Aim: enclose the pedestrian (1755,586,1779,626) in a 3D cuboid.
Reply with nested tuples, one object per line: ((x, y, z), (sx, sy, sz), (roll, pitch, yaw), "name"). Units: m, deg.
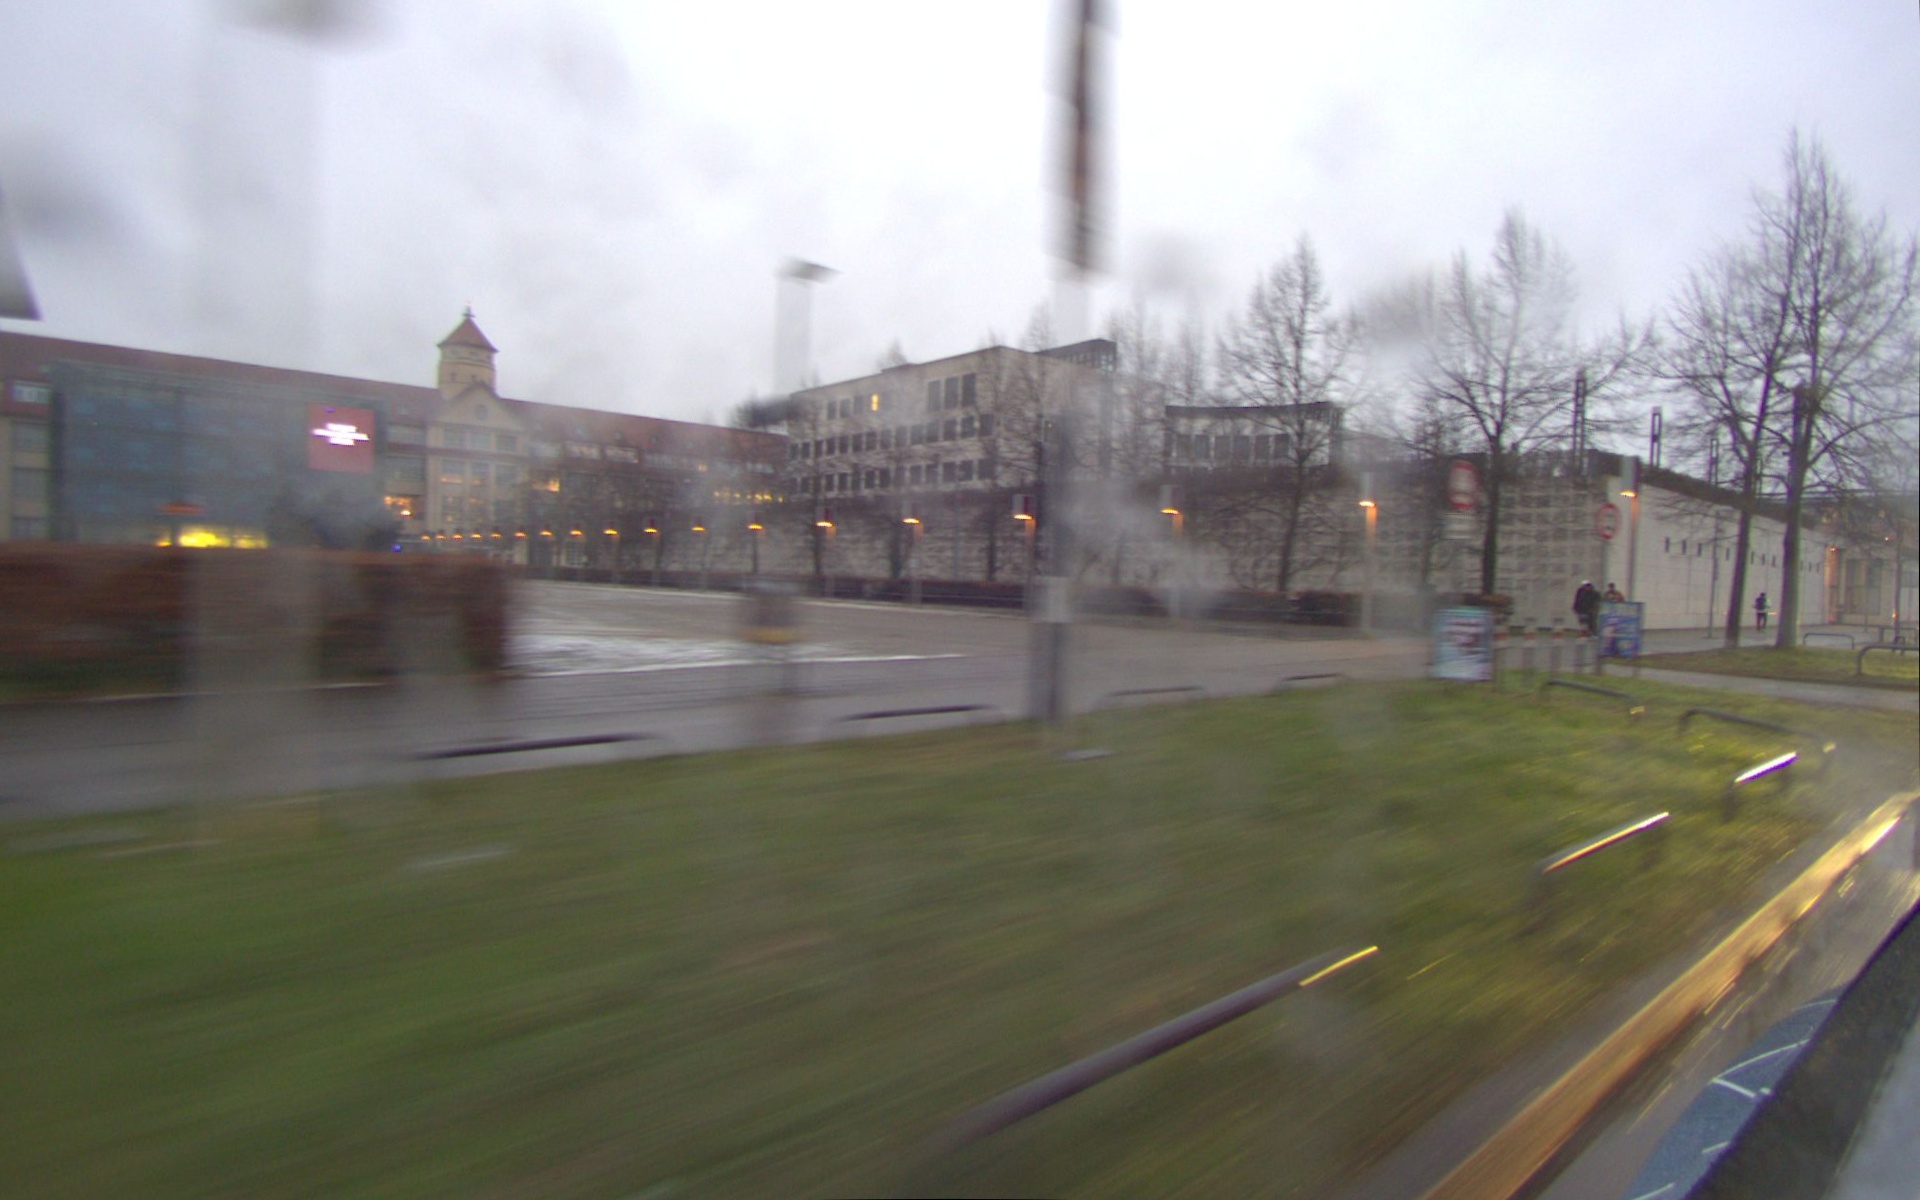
((34.834, 0.228, 43.692), (0.667, 1.675, 0.979), (3, 3, 44), "pedestrian")

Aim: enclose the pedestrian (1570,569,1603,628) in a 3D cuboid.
((19.484, -0.042, 31.471), (0.602, 1.800, 0.676), (0, 0, -27), "pedestrian")

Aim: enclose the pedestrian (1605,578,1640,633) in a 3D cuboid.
((19.993, 0.158, 30.553), (0.602, 1.632, 0.676), (0, 0, -26), "pedestrian")

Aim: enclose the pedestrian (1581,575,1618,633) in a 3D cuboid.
((18.590, 0.108, 29.420), (0.601, 1.646, 0.676), (0, 0, -25), "pedestrian")
